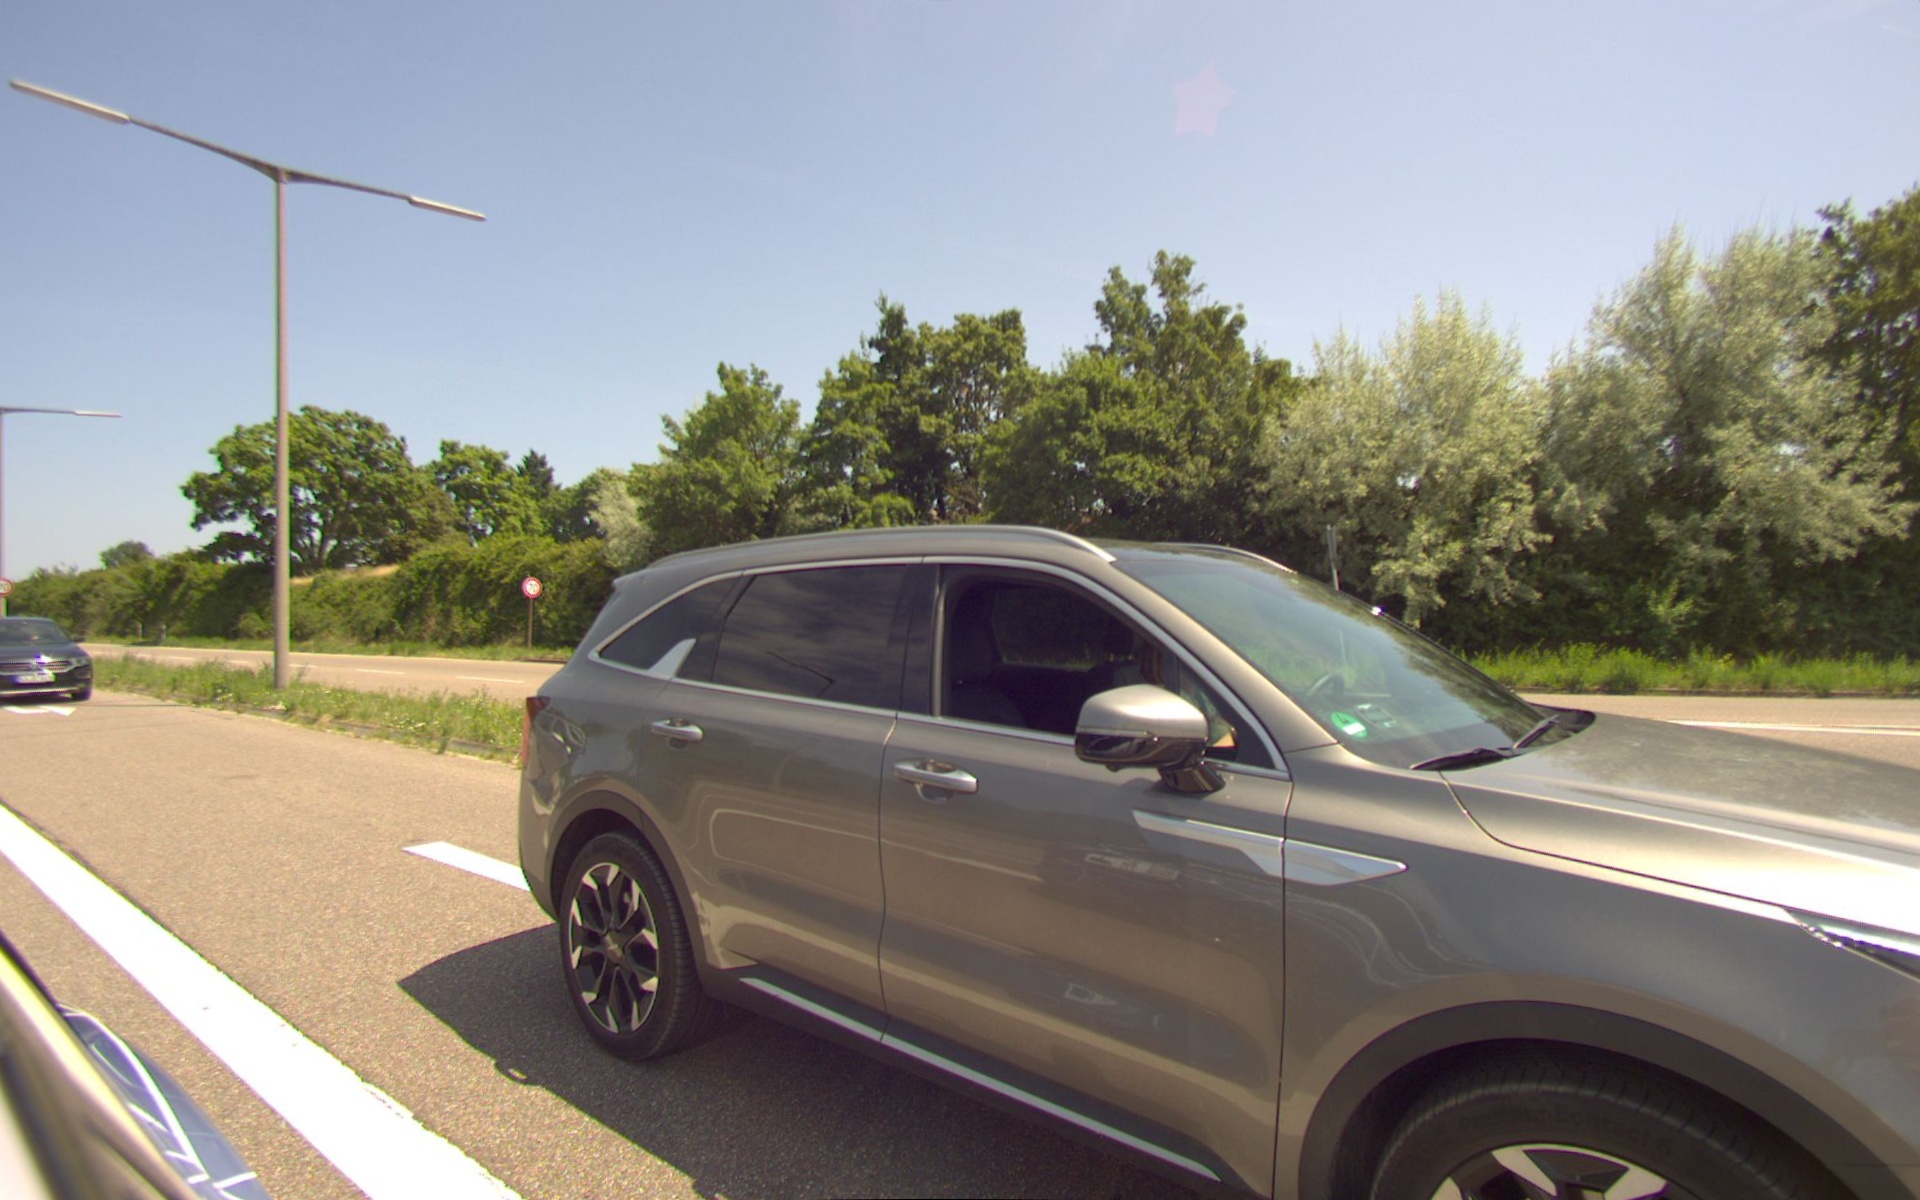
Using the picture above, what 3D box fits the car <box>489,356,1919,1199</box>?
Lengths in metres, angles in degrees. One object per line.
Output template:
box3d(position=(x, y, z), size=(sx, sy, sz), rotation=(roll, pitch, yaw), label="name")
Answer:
box3d(position=(0.523, 0.574, 3.008), size=(4.528, 1.681, 1.762), rotation=(-2, -2, 40), label="car")

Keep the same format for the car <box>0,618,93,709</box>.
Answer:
box3d(position=(-17.406, 1.120, 18.533), size=(3.997, 1.511, 1.731), rotation=(-2, -1, 40), label="car")
